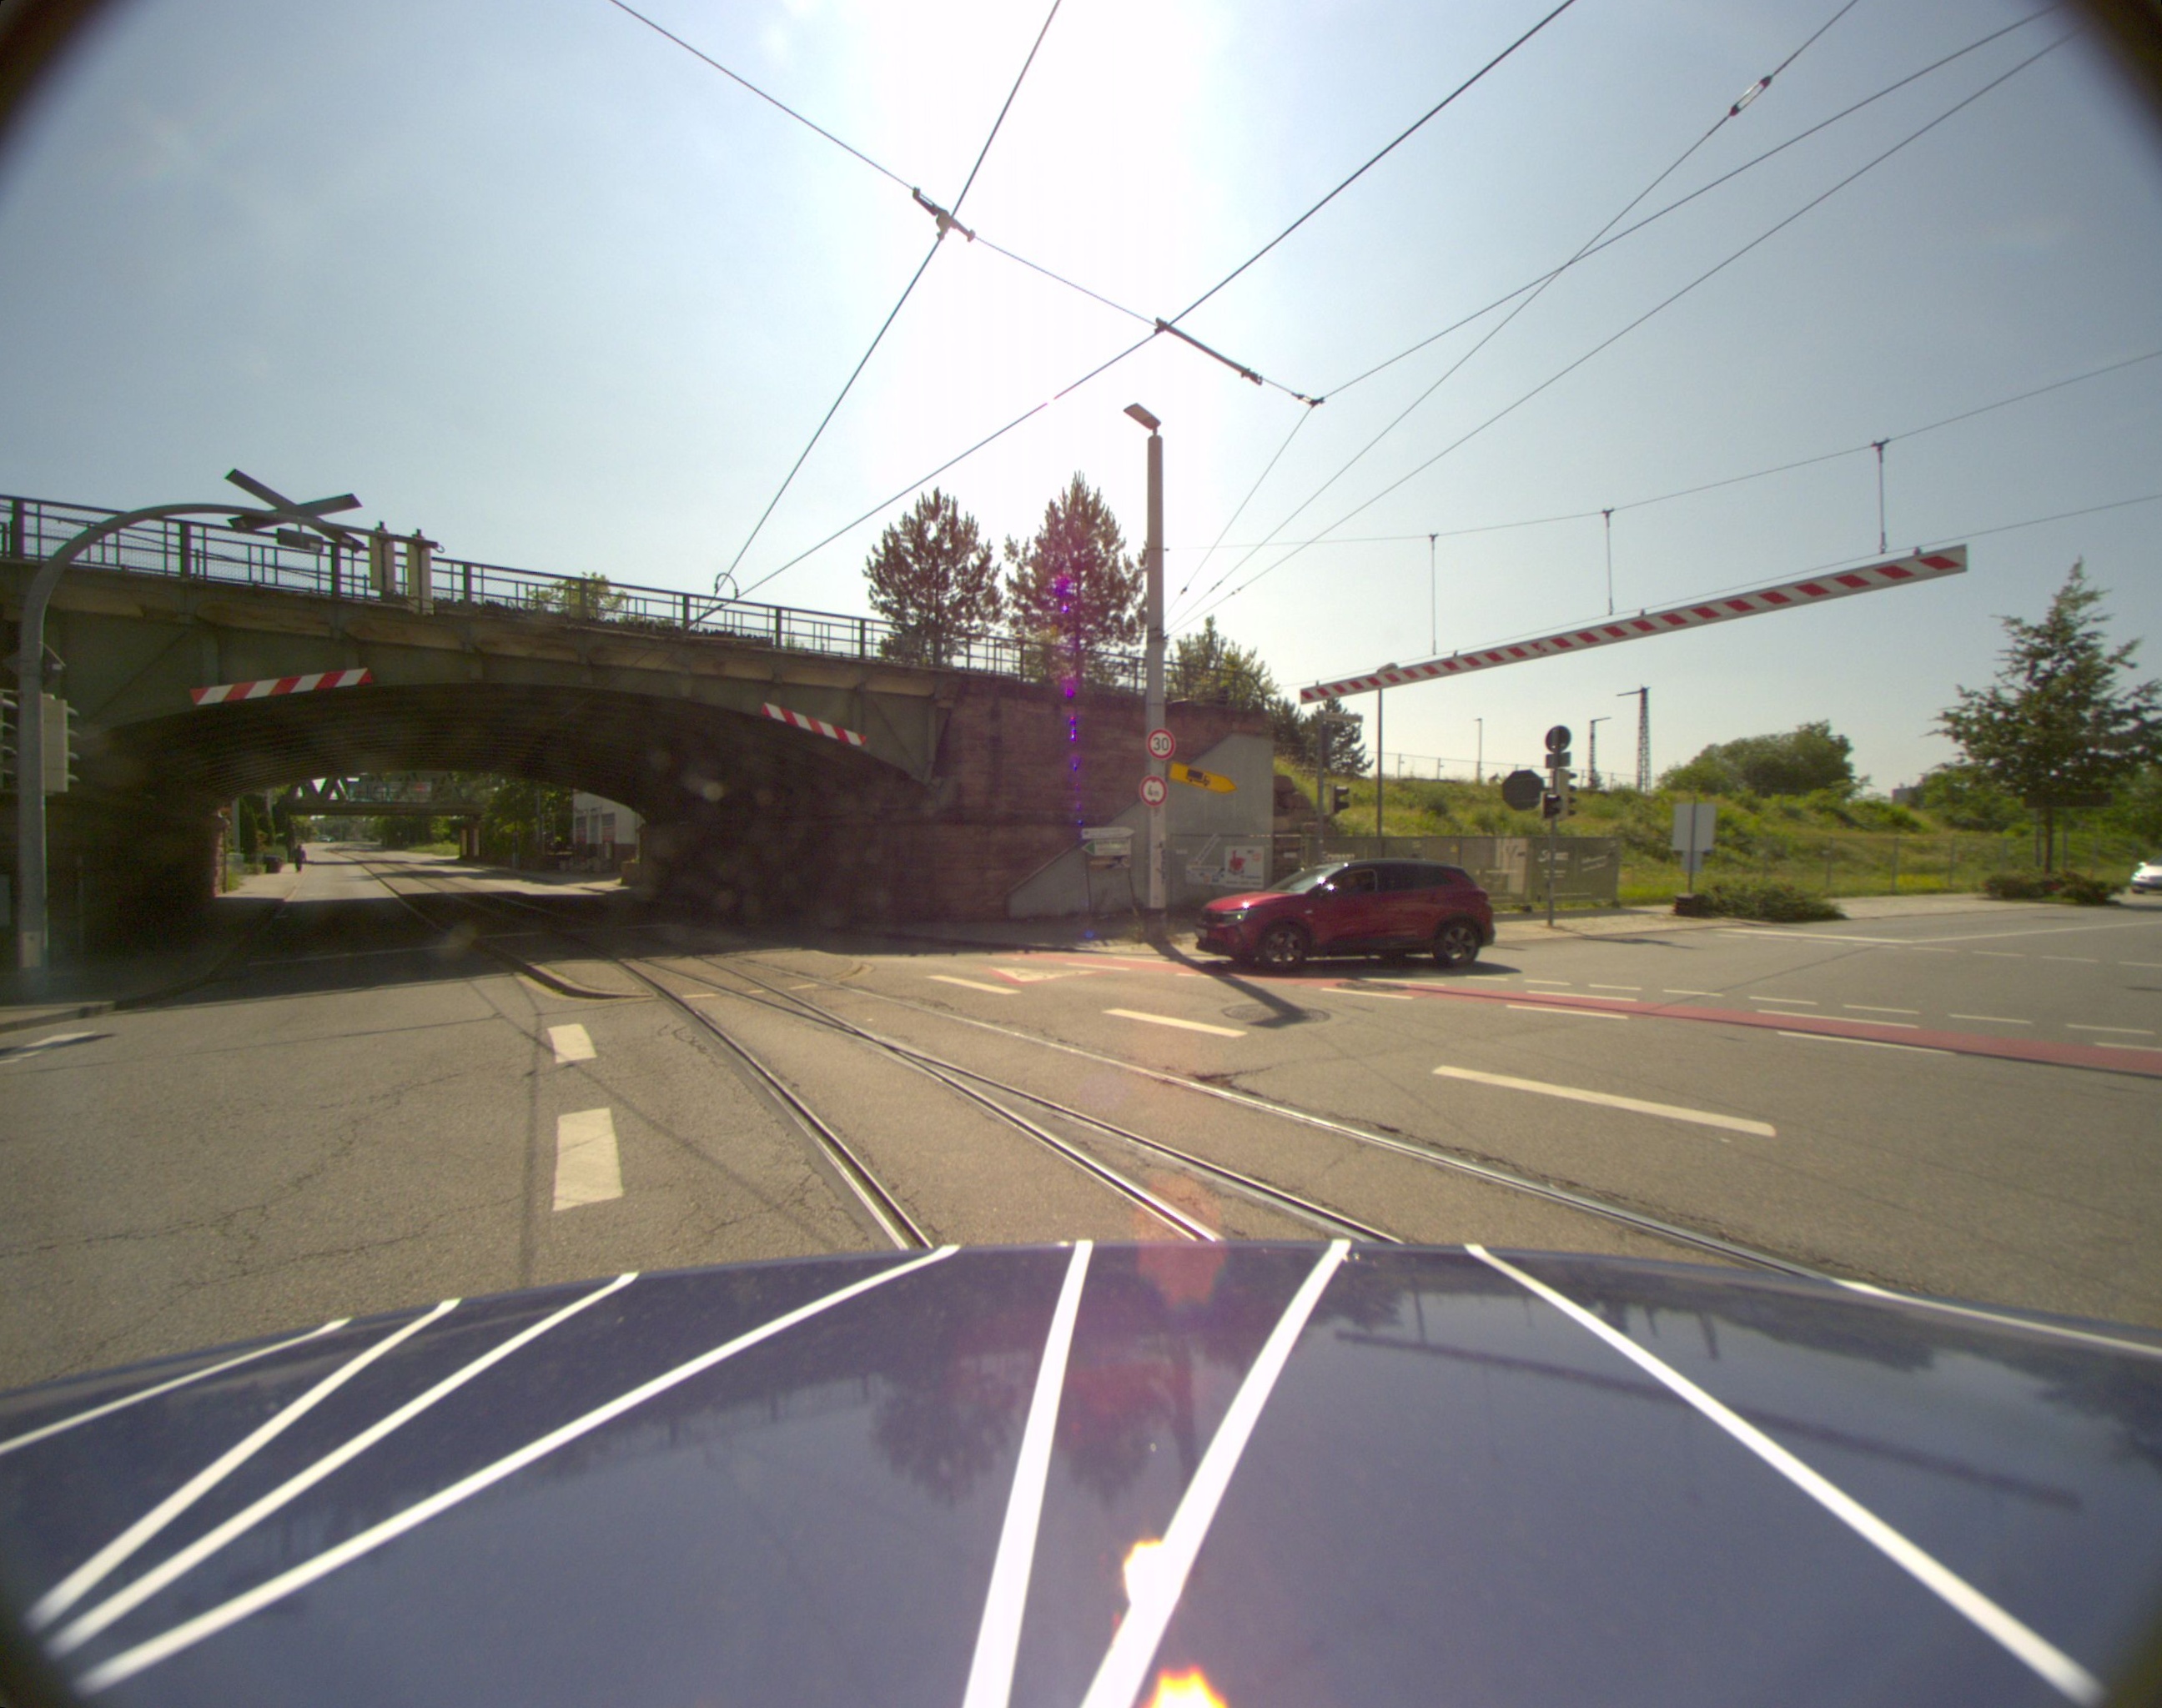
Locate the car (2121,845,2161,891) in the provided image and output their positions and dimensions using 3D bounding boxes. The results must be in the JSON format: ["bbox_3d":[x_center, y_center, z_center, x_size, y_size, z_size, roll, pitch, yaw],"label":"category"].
[{"bbox_3d":[40.600,0.538,27.786,4.374,1.607,1.844,0,3,-21],"label":"car"}]

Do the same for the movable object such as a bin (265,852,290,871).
[{"bbox_3d":[-48.617,0.445,45.975,0.971,1.156,1.042,1,1,44],"label":"movable object such as a bin"}]

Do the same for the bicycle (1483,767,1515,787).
[{"bbox_3d":[28.744,-5.309,52.225,2.178,1.206,0.935,-1,0,-30],"label":"bicycle"}]

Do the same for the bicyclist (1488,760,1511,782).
[{"bbox_3d":[28.785,-5.718,52.251,1.064,1.380,0.951,-1,0,-30],"label":"bicyclist"}]

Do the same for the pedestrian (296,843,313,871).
[{"bbox_3d":[-49.652,0.193,48.604,0.848,1.807,0.744,1,1,44],"label":"pedestrian"}]

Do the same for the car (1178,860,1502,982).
[{"bbox_3d":[3.831,0.923,11.532,4.308,1.594,1.821,0,-1,-11],"label":"car"}]
